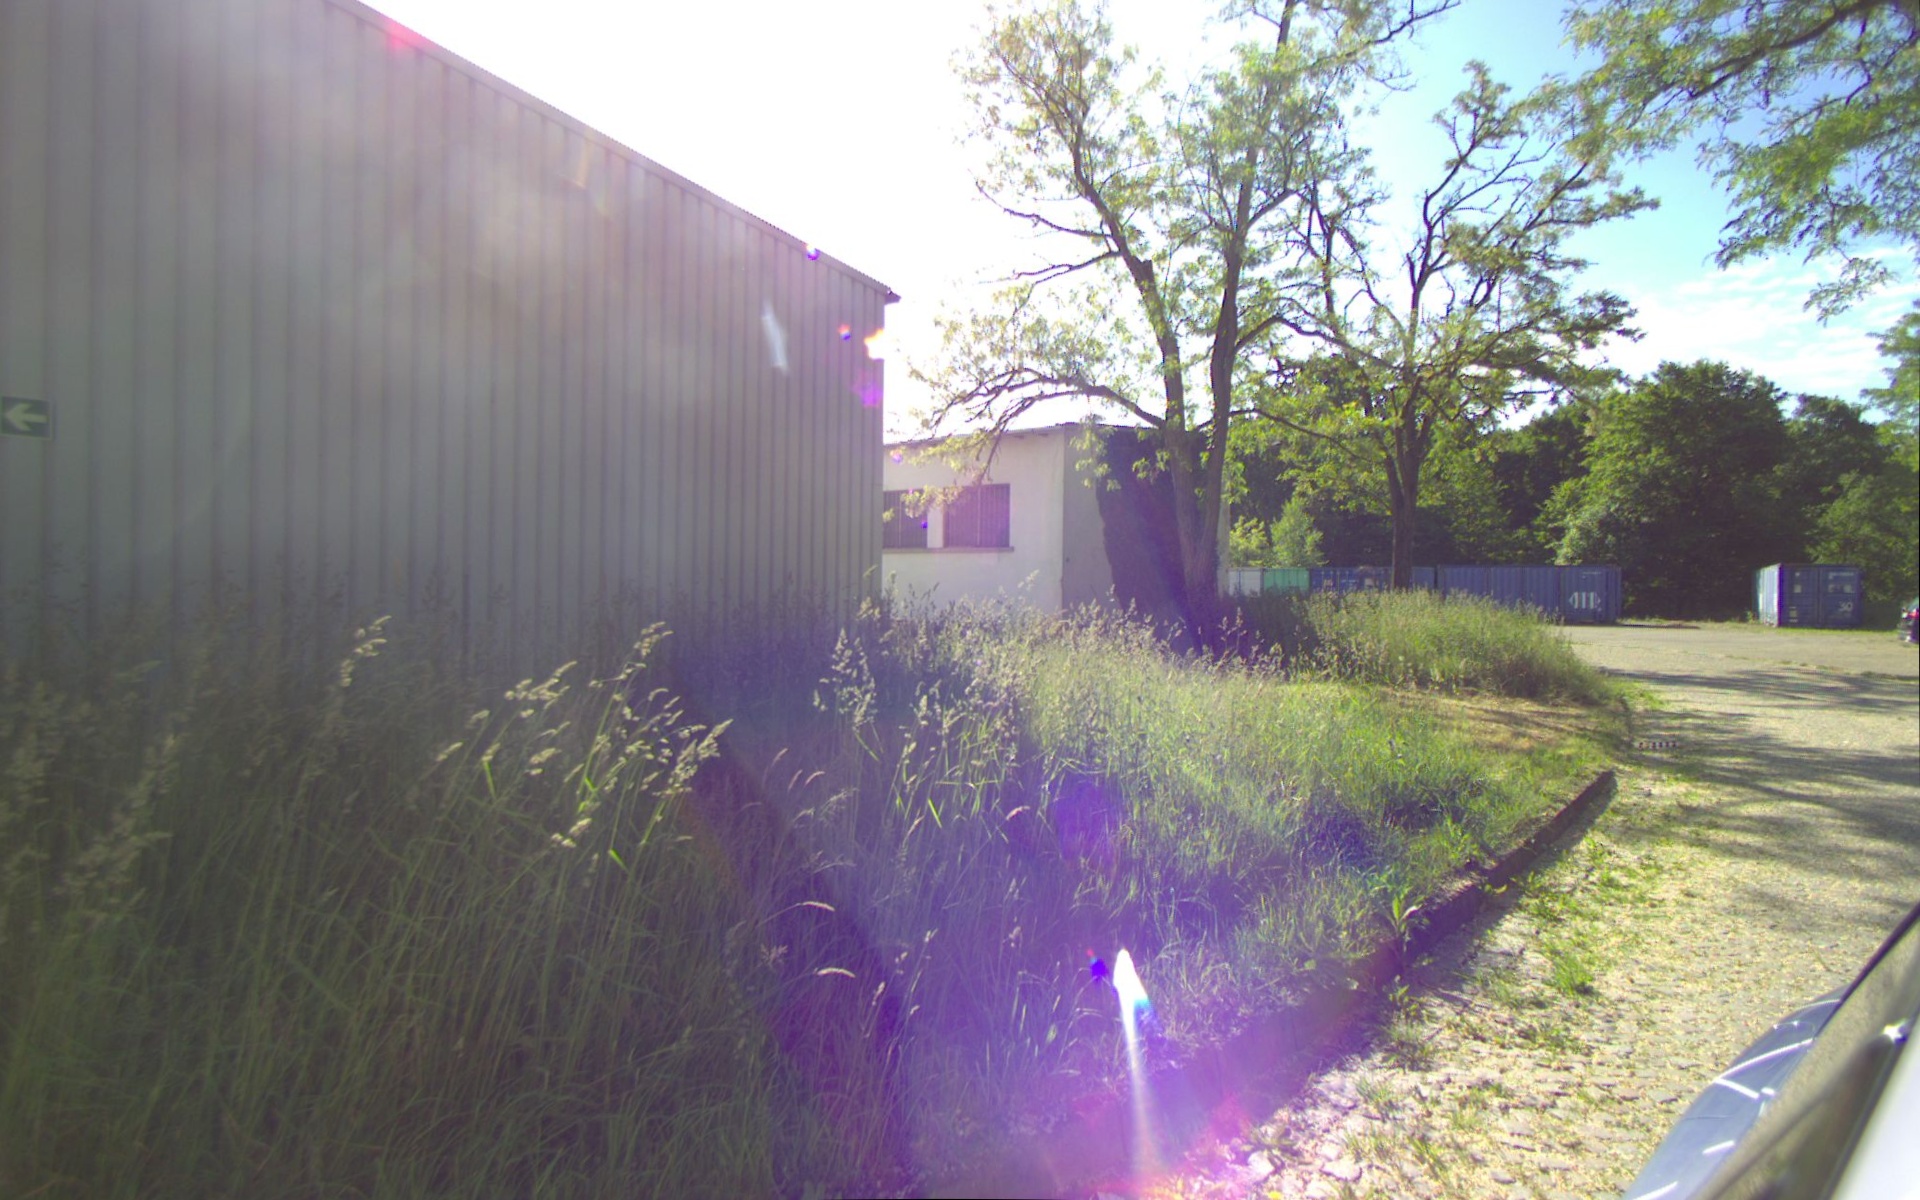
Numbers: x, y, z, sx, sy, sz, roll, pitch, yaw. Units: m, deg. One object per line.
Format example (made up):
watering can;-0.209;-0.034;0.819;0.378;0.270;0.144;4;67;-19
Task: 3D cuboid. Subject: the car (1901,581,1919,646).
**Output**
car;25.916;0.315;24.686;4.105;1.609;1.945;0;1;36

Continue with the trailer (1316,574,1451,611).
trailer;17.904;-0.376;42.850;4.832;1.432;2.615;2;2;36
